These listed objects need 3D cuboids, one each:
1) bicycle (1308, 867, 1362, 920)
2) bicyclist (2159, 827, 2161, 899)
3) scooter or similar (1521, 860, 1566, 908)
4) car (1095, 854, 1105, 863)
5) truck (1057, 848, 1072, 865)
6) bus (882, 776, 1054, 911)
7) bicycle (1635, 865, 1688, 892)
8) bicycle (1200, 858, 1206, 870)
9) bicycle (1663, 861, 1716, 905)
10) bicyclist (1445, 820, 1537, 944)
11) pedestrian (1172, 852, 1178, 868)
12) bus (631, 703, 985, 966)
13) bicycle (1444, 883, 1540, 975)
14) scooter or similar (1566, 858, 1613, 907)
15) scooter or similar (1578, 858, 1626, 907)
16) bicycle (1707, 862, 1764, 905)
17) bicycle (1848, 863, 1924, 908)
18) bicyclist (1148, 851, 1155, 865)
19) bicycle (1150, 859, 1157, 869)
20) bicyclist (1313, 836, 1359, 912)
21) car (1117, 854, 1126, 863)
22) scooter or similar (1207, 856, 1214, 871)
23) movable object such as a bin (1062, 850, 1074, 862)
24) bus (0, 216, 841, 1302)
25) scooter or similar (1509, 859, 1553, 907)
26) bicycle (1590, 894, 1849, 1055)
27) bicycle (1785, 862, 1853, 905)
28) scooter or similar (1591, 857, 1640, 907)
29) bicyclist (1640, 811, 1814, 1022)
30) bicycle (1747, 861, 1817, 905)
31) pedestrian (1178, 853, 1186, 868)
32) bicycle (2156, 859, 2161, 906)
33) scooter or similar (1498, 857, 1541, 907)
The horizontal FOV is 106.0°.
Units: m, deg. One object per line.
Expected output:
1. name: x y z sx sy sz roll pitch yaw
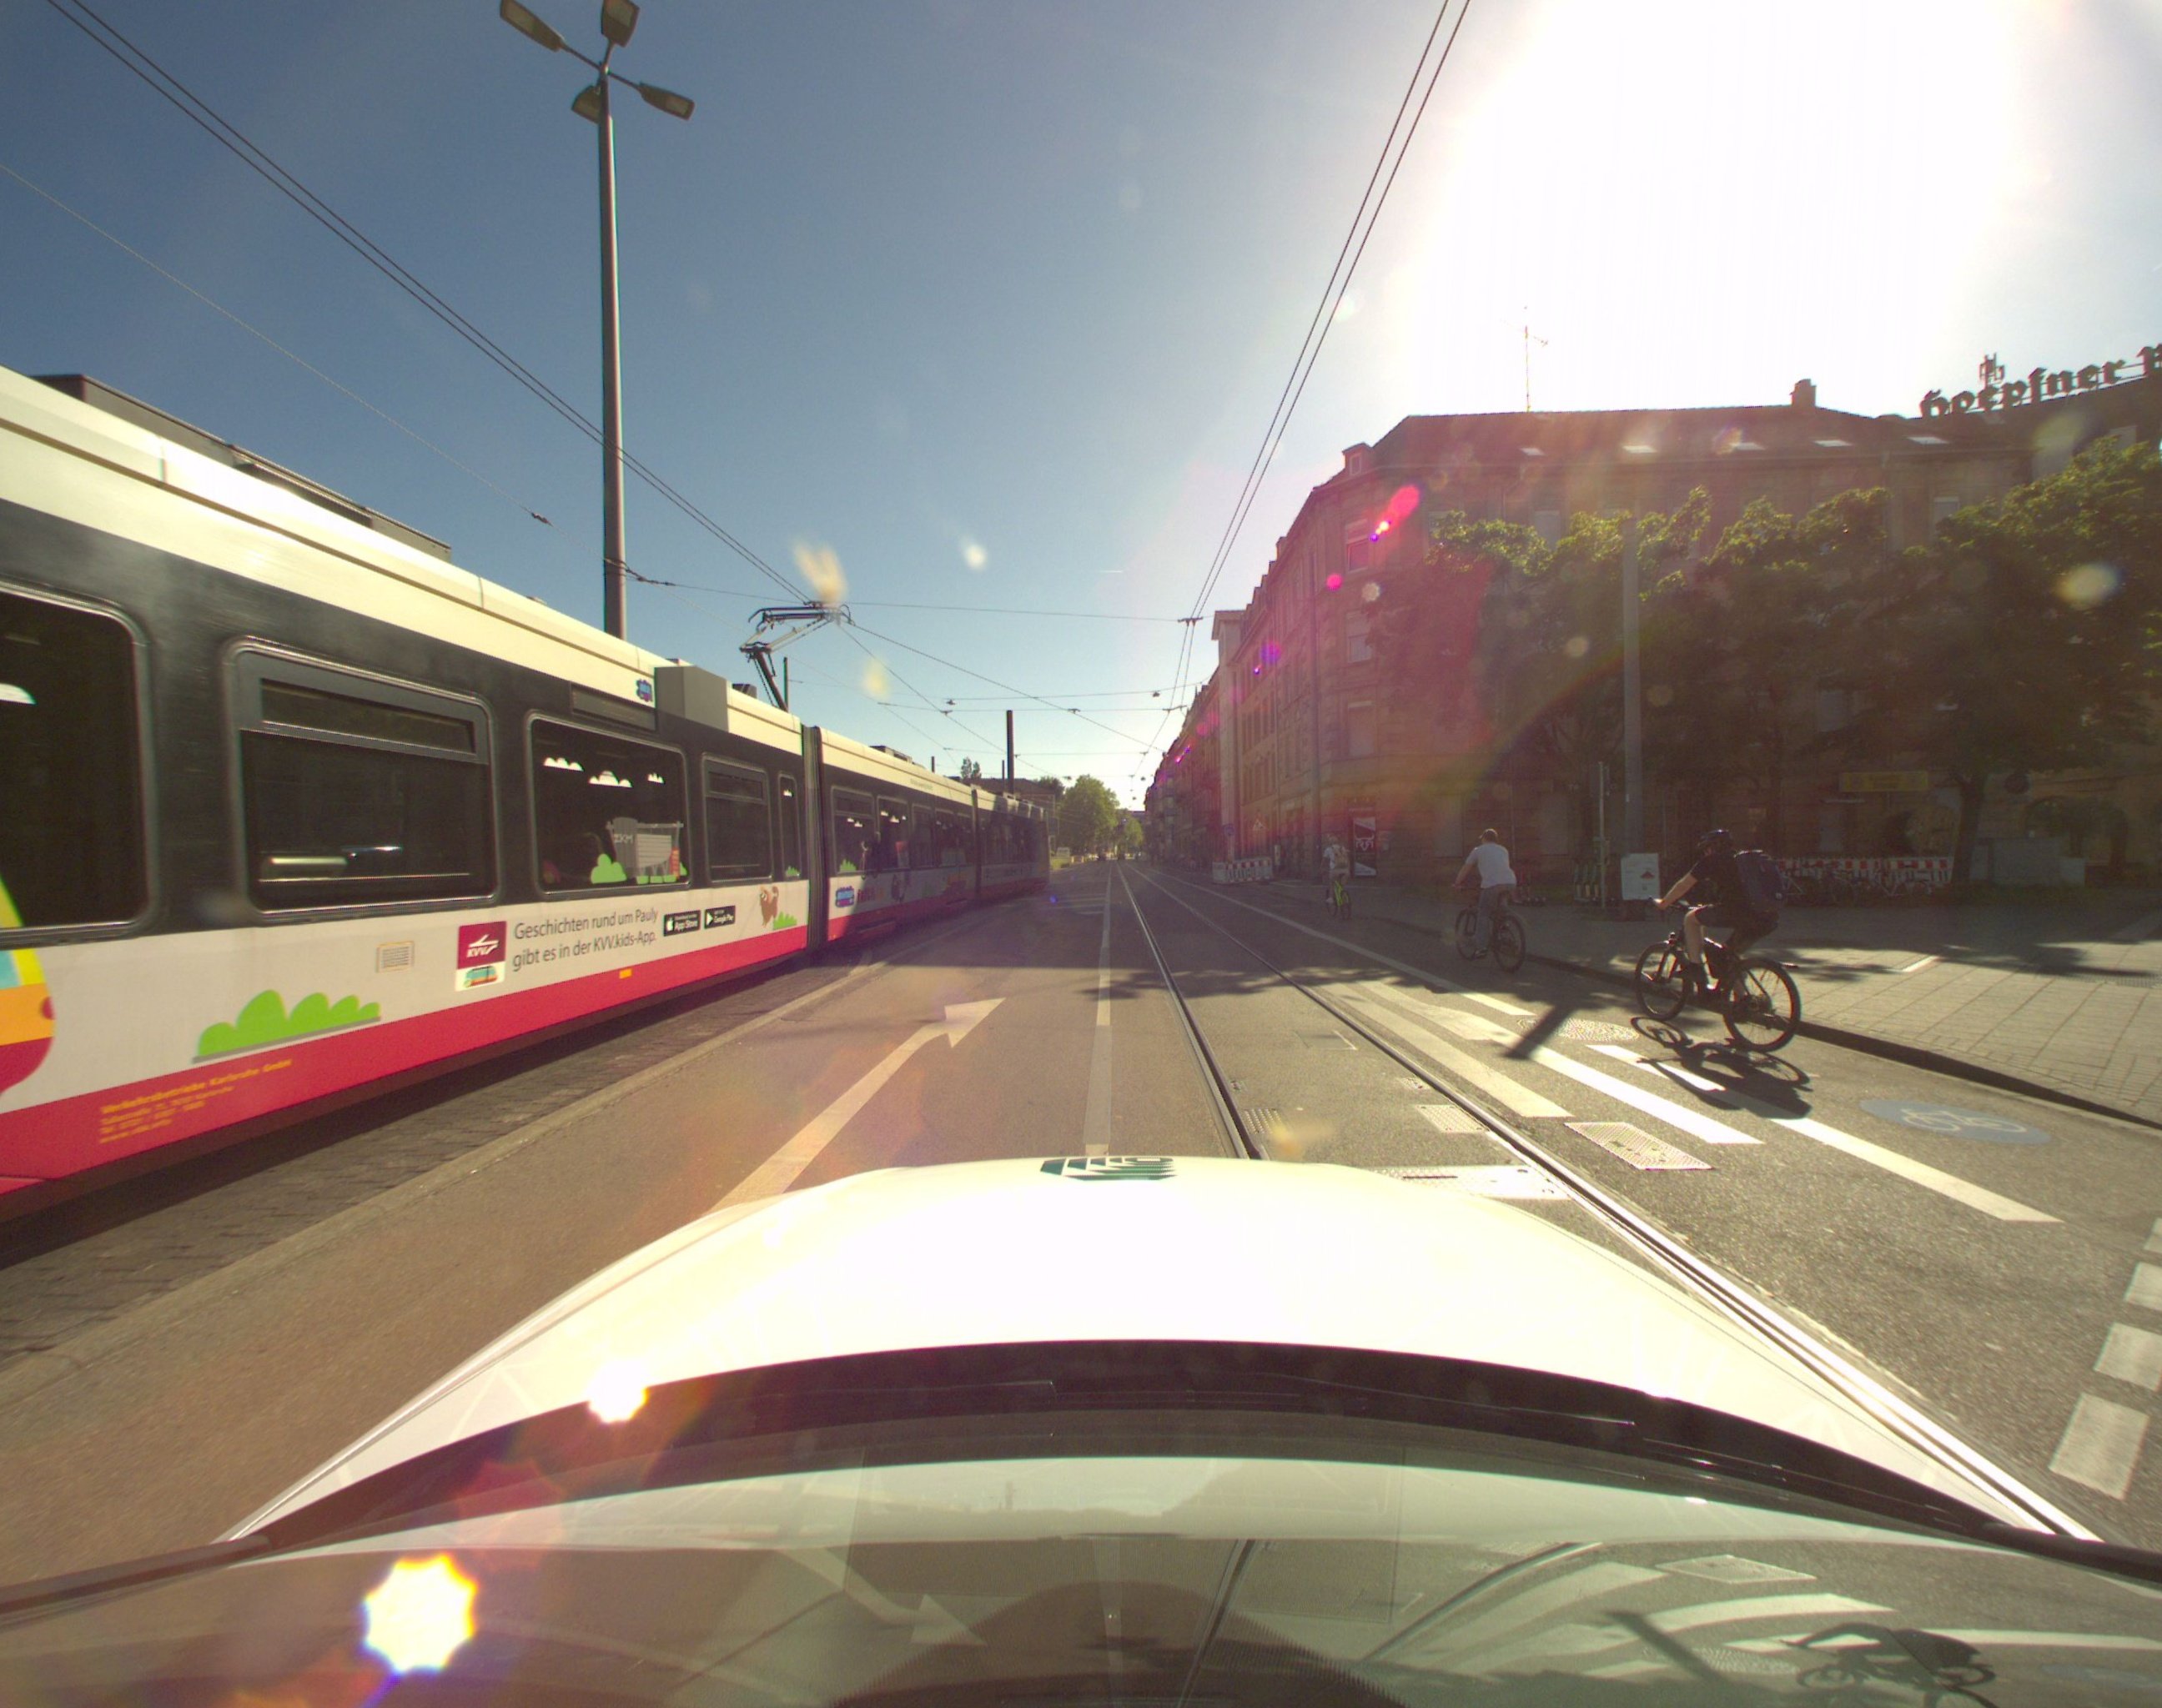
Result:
1. bicycle: 5.801 0.882 18.724 0.530 1.117 1.931 1 0 -3
2. bicyclist: 25.286 0.217 18.801 1.051 1.660 0.449 1 -1 -38
3. scooter or similar: 11.710 0.733 20.666 0.269 1.163 1.705 1 -1 3
4. car: 3.839 0.923 165.288 1.751 1.697 4.147 1 -1 3
5. truck: -2.996 0.463 146.308 2.531 2.830 6.372 1 -1 -1
6. bus: -3.251 -0.263 27.470 2.825 3.589 11.294 -1 0 7
7. bicycle: 19.072 0.811 26.763 1.409 0.856 0.405 1 -1 9
8. bicycle: 11.236 0.946 75.091 0.407 1.121 1.901 -3 -1 6
9. bicycle: 15.258 0.711 20.450 0.401 1.061 1.485 1 -1 8
10. bicyclist: 5.492 0.360 10.957 0.779 1.593 0.886 -1 0 2
11. pedestrian: 10.487 0.682 90.545 0.549 1.701 0.475 -3 -1 9
12. bus: -4.394 -0.246 16.521 2.828 3.589 10.738 0 0 4
13. bicycle: 5.490 0.958 10.984 0.384 1.069 1.935 -1 0 3
14. scooter or similar: 12.680 0.696 20.349 0.269 1.185 1.566 1 -1 3
15. scooter or similar: 12.995 0.700 20.349 0.269 1.185 1.566 1 -1 3
16. bicycle: 16.446 0.724 20.491 0.401 1.061 1.353 1 -1 3
17. bicycle: 20.118 0.769 20.394 0.402 1.061 1.460 1 -1 -4
18. bicyclist: 8.460 0.442 97.726 0.664 1.697 1.043 1 -1 2
19. bicycle: 8.725 1.184 97.533 0.678 1.114 2.708 1 0 2
20. bicyclist: 5.764 0.447 18.477 0.679 1.683 1.120 1 -1 -1
21. car: 9.327 0.975 185.627 1.985 2.014 4.003 1 -1 3
22. scooter or similar: 10.964 0.815 69.088 0.404 1.211 1.481 -2 -1 3
23. movable object such as a bin: -2.861 0.450 177.436 2.487 2.645 5.987 1 0 0
24. bus: -4.931 -0.306 4.508 2.830 3.589 13.500 0 0 2
25. scooter or similar: 11.383 0.714 20.653 0.269 1.157 1.705 1 -1 3
26. bicycle: 5.299 0.928 6.946 0.531 1.117 1.930 -1 -1 -5
27. bicycle: 18.920 0.743 20.903 0.402 1.061 1.461 1 -1 -1
28. scooter or similar: 13.325 0.687 20.331 0.269 1.196 1.566 1 -1 3
29. bicyclist: 5.311 0.483 6.753 0.623 1.613 0.978 1 -1 -8
30. bicycle: 17.544 0.716 20.417 0.403 1.061 1.346 1 -1 -13
31. pedestrian: 10.919 0.709 88.028 0.794 1.605 0.653 -1 -1 4
32. bicycle: 25.223 0.643 18.780 2.206 1.058 0.483 0 0 -38
33. scooter or similar: 11.088 0.693 20.631 0.269 1.219 1.705 1 -1 3
